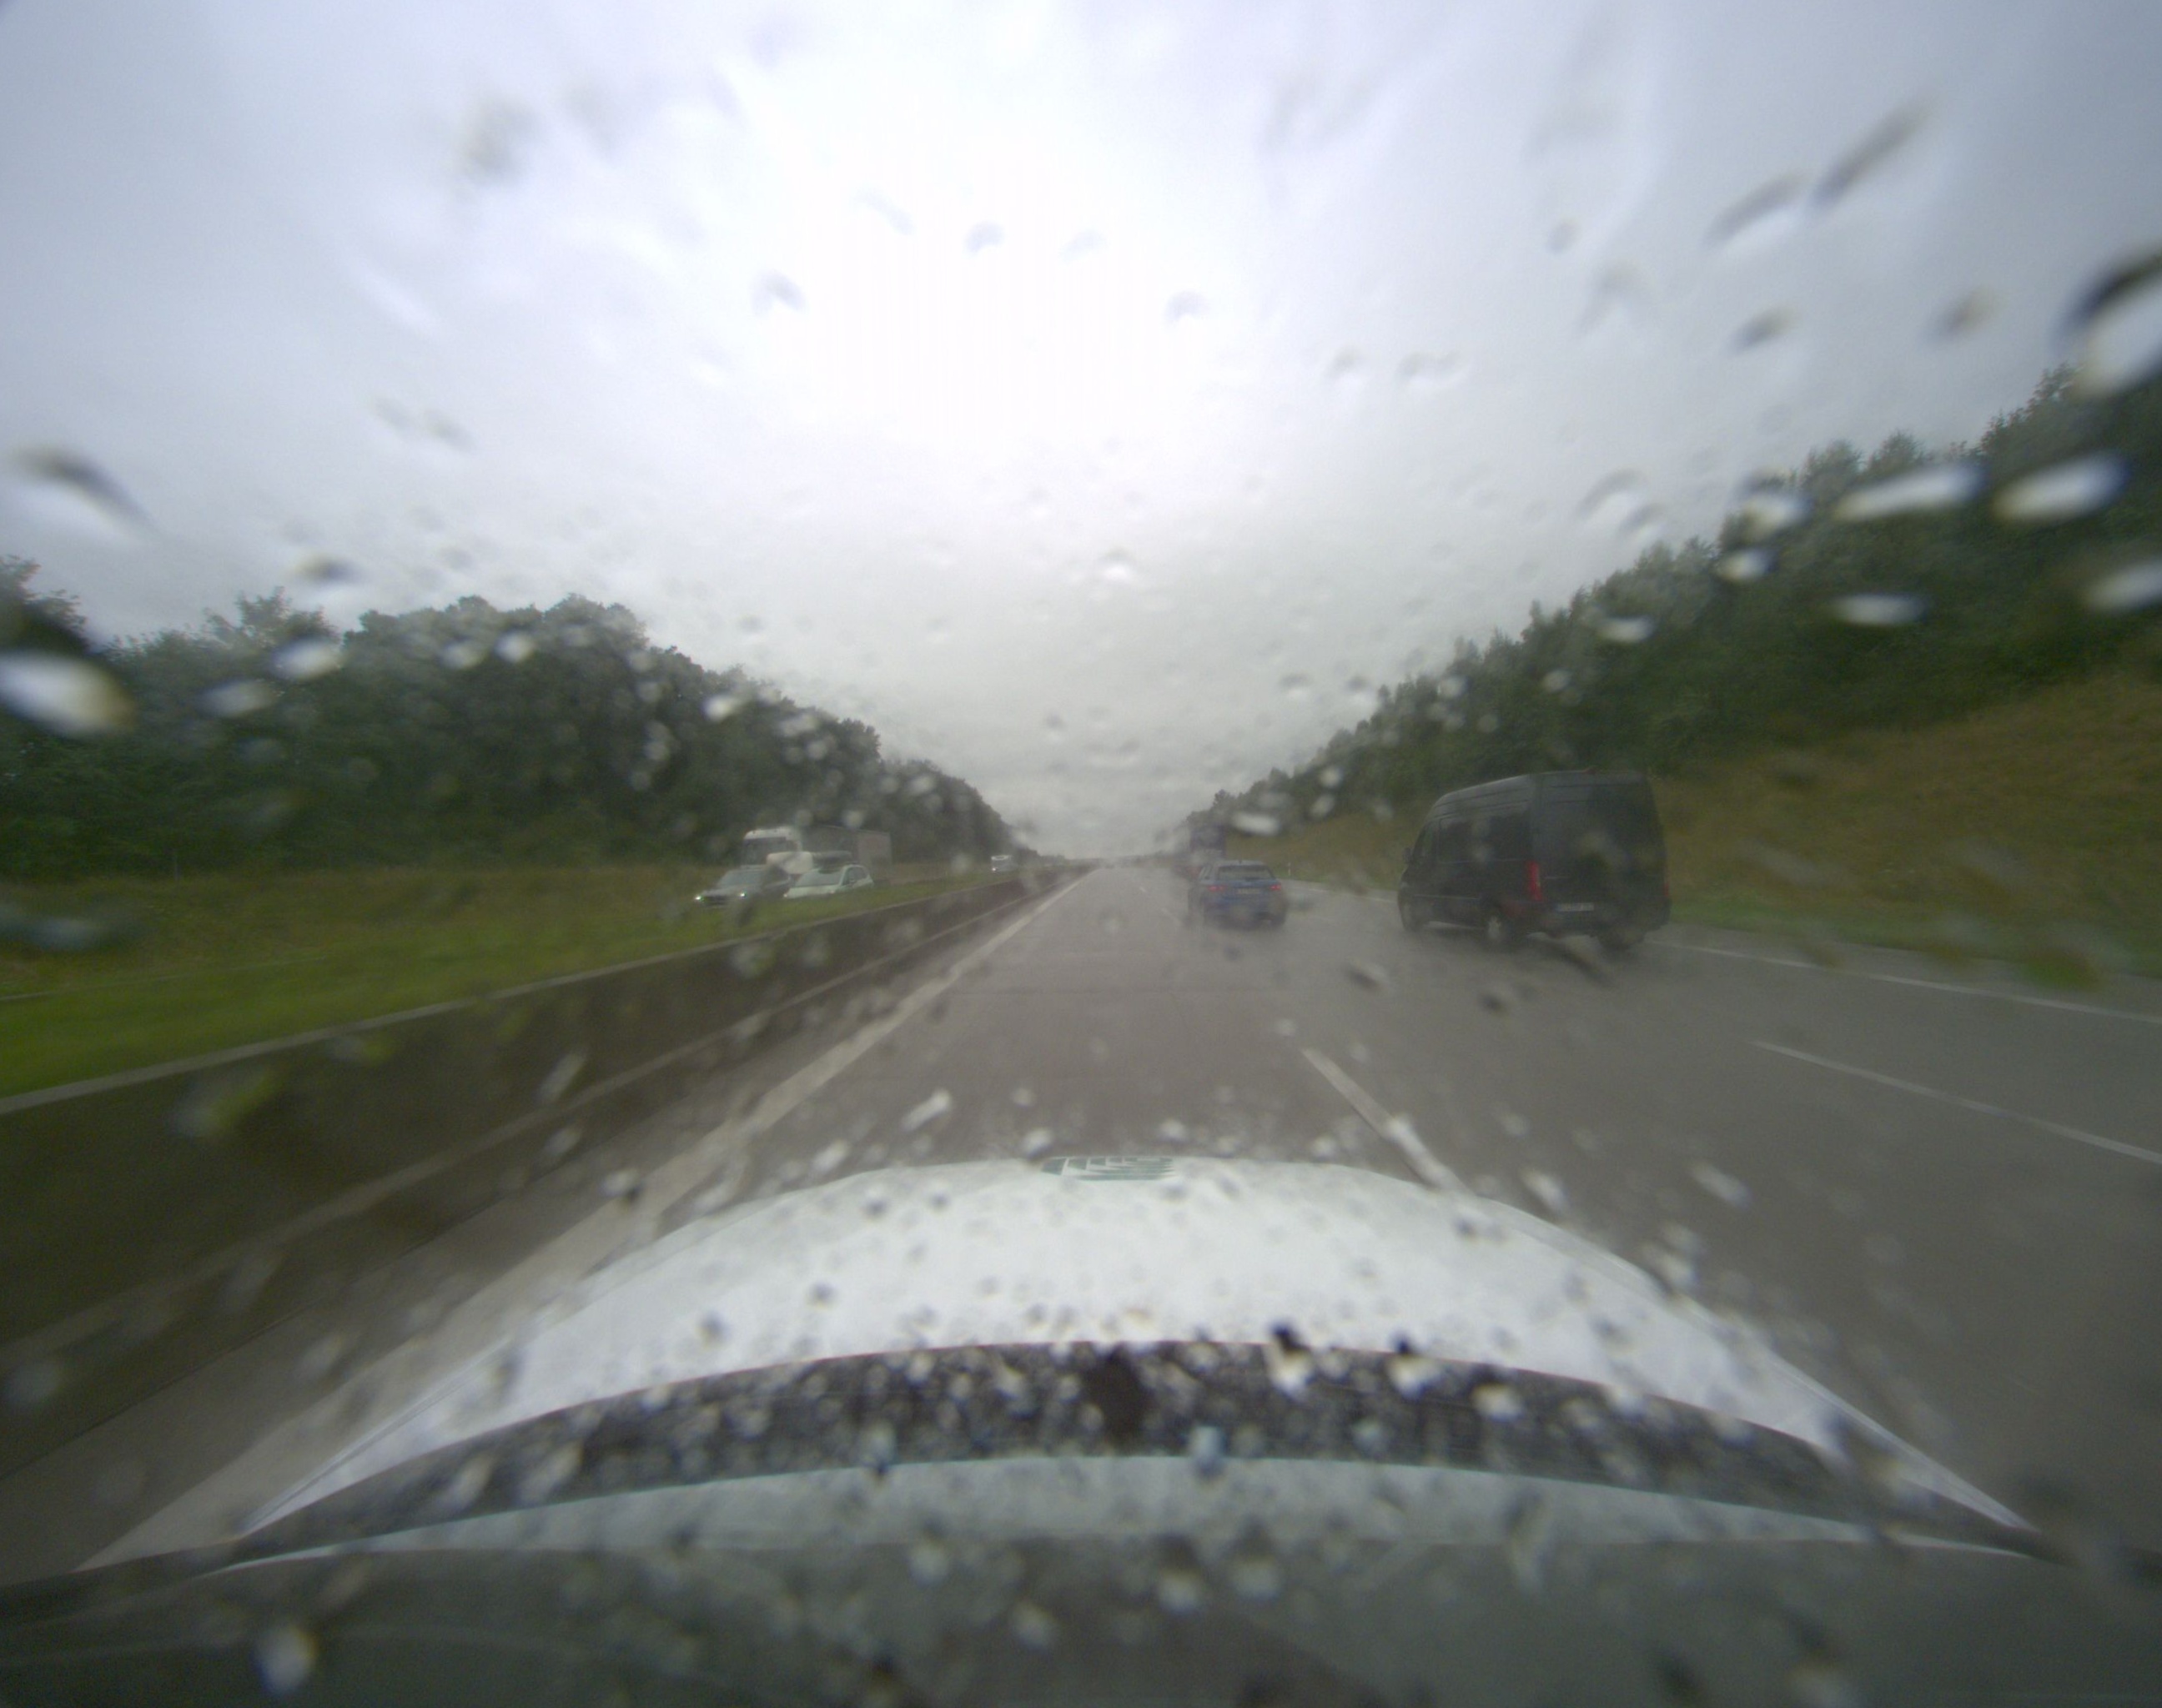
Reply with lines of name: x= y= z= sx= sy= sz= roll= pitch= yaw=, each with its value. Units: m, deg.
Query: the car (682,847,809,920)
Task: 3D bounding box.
car: x=-11.302 y=0.931 z=27.922 sx=1.986 sy=2.180 sz=5.209 roll=-3 pitch=0 yaw=1

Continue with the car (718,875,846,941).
car: x=-8.152 y=1.413 z=22.688 sx=1.749 sy=1.469 sz=4.450 roll=-3 pitch=0 yaw=1

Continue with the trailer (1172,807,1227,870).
trailer: x=9.189 y=-0.997 z=64.907 sx=2.696 sy=4.380 sz=15.212 roll=-1 pitch=-1 yaw=2

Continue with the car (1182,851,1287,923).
car: x=3.553 y=0.771 z=19.664 sx=1.723 sy=1.459 sz=4.673 roll=-2 pitch=-2 yaw=2

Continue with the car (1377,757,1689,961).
car: x=7.098 y=0.074 z=13.939 sx=1.933 sy=2.659 sz=6.590 roll=0 pitch=0 yaw=3

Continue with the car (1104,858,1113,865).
car: x=5.557 y=1.410 z=162.734 sx=1.723 sy=1.331 sz=4.431 roll=-2 pitch=0 yaw=2

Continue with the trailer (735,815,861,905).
trailer: x=-14.746 y=0.259 z=43.564 sx=2.577 sy=4.046 sz=10.378 roll=-4 pitch=0 yaw=1

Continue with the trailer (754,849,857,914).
trailer: x=-11.137 y=1.033 z=33.510 sx=2.031 sy=2.372 sz=5.836 roll=-2 pitch=0 yaw=1

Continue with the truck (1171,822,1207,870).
truck: x=9.455 y=-0.631 z=71.549 sx=2.626 sy=3.954 sz=5.689 roll=-1 pitch=-1 yaw=2
